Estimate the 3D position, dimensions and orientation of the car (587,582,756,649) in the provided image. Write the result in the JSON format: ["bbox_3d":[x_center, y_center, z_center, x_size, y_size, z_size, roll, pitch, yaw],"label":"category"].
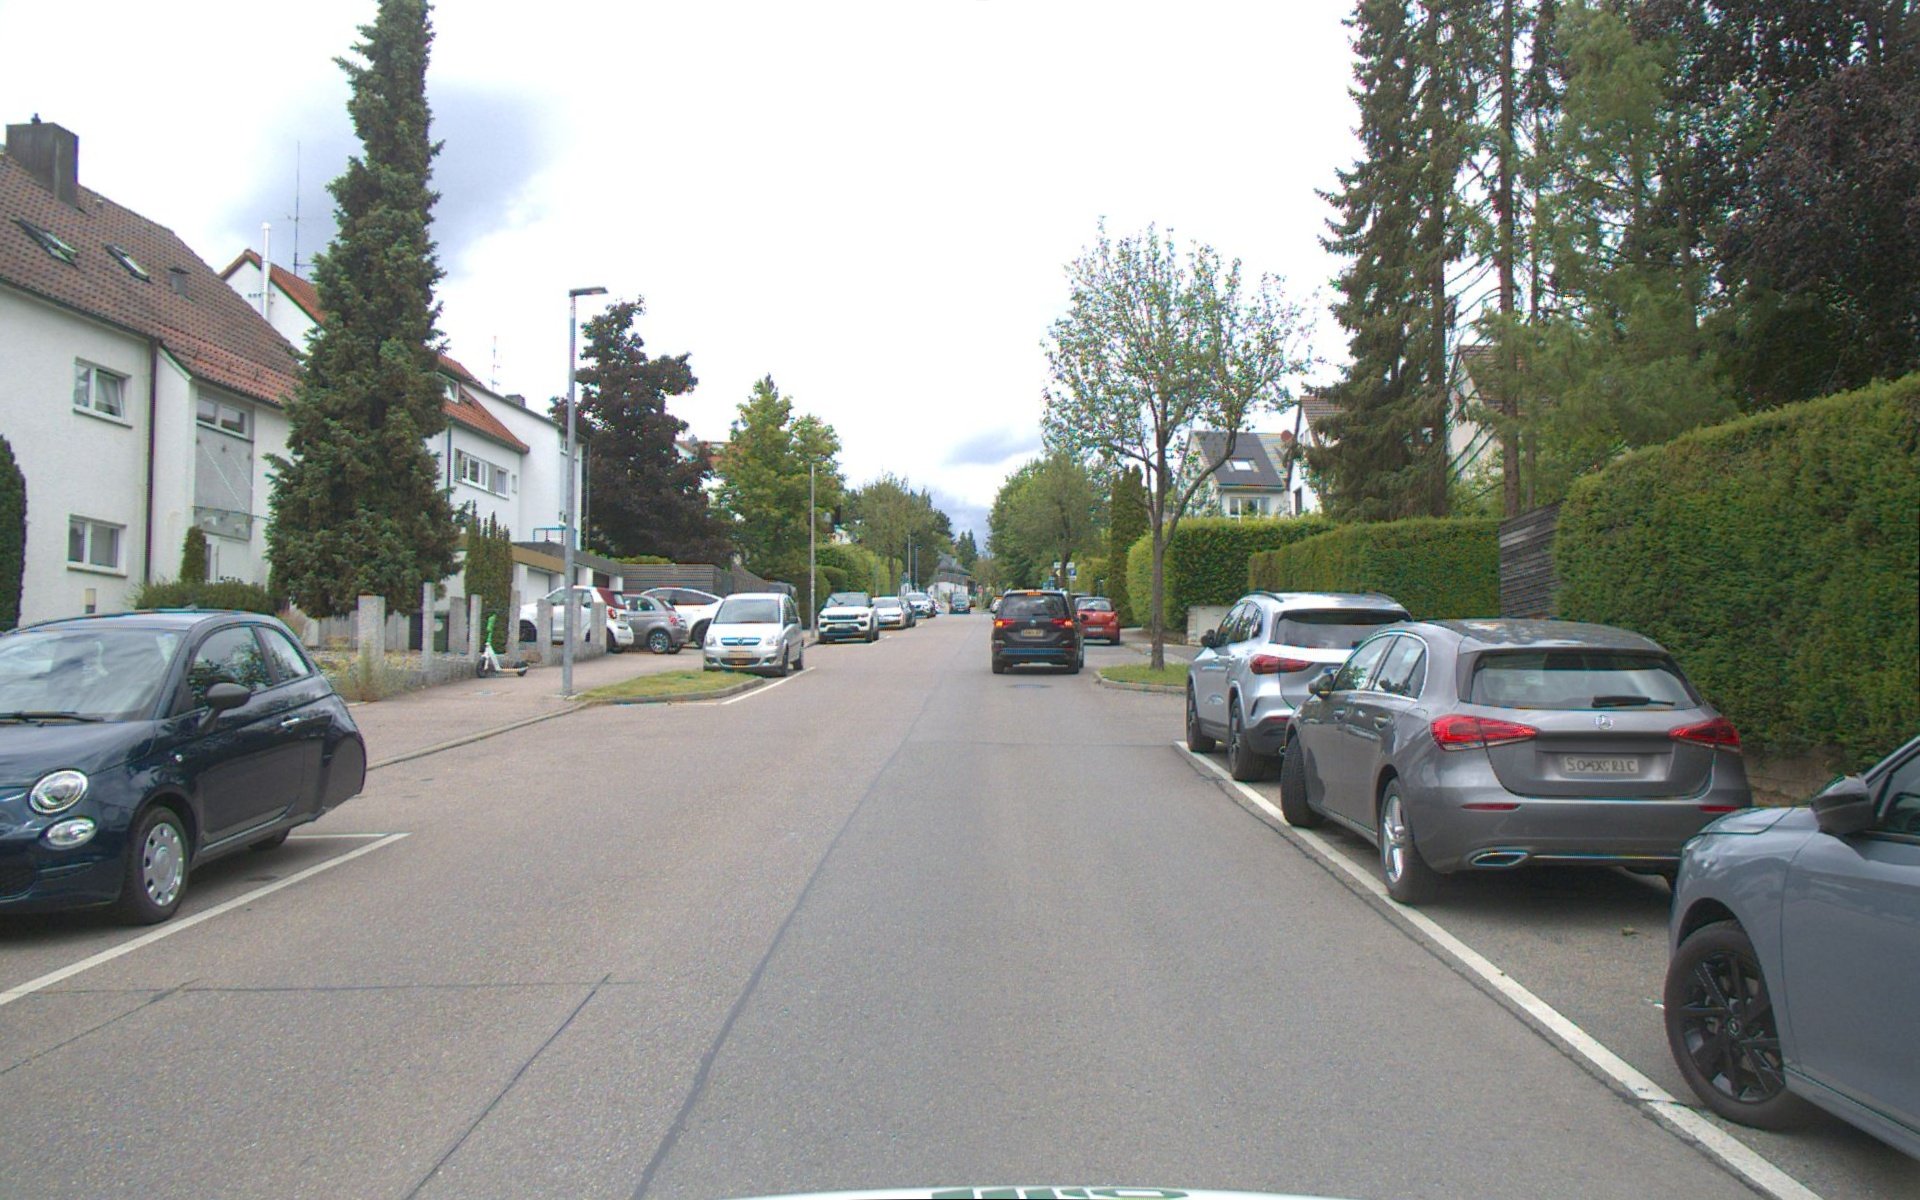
[{"bbox_3d":[-8.041,0.418,46.338,4.321,1.657,1.911,2,0,0],"label":"car"}]

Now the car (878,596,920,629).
[{"bbox_3d":[-2.884,0.593,78.817,1.691,1.448,4.080,-2,0,2],"label":"car"}]

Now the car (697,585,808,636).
[{"bbox_3d":[-8.260,0.440,66.075,3.985,1.984,2.001,0,-1,9],"label":"car"}]

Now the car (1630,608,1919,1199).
[{"bbox_3d":[3.253,0.773,3.762,1.817,1.490,3.999,1,0,0],"label":"car"}]

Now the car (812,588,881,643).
[{"bbox_3d":[-3.751,0.489,55.327,1.799,1.695,4.409,-2,0,2],"label":"car"}]

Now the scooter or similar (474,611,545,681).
[{"bbox_3d":[-7.800,0.777,28.692,0.464,1.168,1.455,2,0,17],"label":"scooter or similar"}]

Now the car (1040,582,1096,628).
[{"bbox_3d":[4.039,0.195,62.530,1.952,1.646,4.514,2,0,2],"label":"car"}]

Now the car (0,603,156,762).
[{"bbox_3d":[-10.051,0.738,15.370,4.201,1.391,1.903,0,0,-4],"label":"car"}]

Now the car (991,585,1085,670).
[{"bbox_3d":[1.591,0.545,33.967,1.809,1.640,4.312,0,0,2],"label":"car"}]

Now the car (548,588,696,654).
[{"bbox_3d":[-8.649,0.547,42.531,3.358,1.539,1.693,2,-1,2],"label":"car"}]

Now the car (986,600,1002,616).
[{"bbox_3d":[3.702,0.823,180.530,1.631,1.697,3.466,0,0,-3],"label":"car"}]

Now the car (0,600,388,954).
[{"bbox_3d":[-4.726,0.793,9.099,1.839,1.563,3.508,-1,0,2],"label":"car"}]

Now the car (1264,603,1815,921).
[{"bbox_3d":[3.127,0.776,9.912,1.817,1.490,4.171,1,0,0],"label":"car"}]

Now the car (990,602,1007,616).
[{"bbox_3d":[4.023,0.937,173.341,1.631,1.527,3.466,0,0,-3],"label":"car"}]

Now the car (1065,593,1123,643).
[{"bbox_3d":[4.241,0.548,52.843,1.626,1.534,3.759,0,0,1],"label":"car"}]

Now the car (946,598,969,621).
[{"bbox_3d":[-0.189,0.766,139.794,1.846,1.883,4.402,-1,0,1],"label":"car"}]

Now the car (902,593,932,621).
[{"bbox_3d":[-2.525,0.400,98.457,1.687,1.567,3.999,-1,0,-1],"label":"car"}]

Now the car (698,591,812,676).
[{"bbox_3d":[-4.077,0.635,33.487,1.724,1.590,3.856,-1,0,1],"label":"car"}]

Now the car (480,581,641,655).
[{"bbox_3d":[-9.491,0.437,39.462,3.358,1.606,1.657,2,-1,2],"label":"car"}]

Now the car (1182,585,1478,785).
[{"bbox_3d":[3.287,0.698,15.521,1.817,1.610,4.171,1,0,0],"label":"car"}]

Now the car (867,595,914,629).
[{"bbox_3d":[-3.067,0.519,73.960,1.799,1.447,4.408,-2,0,1],"label":"car"}]
